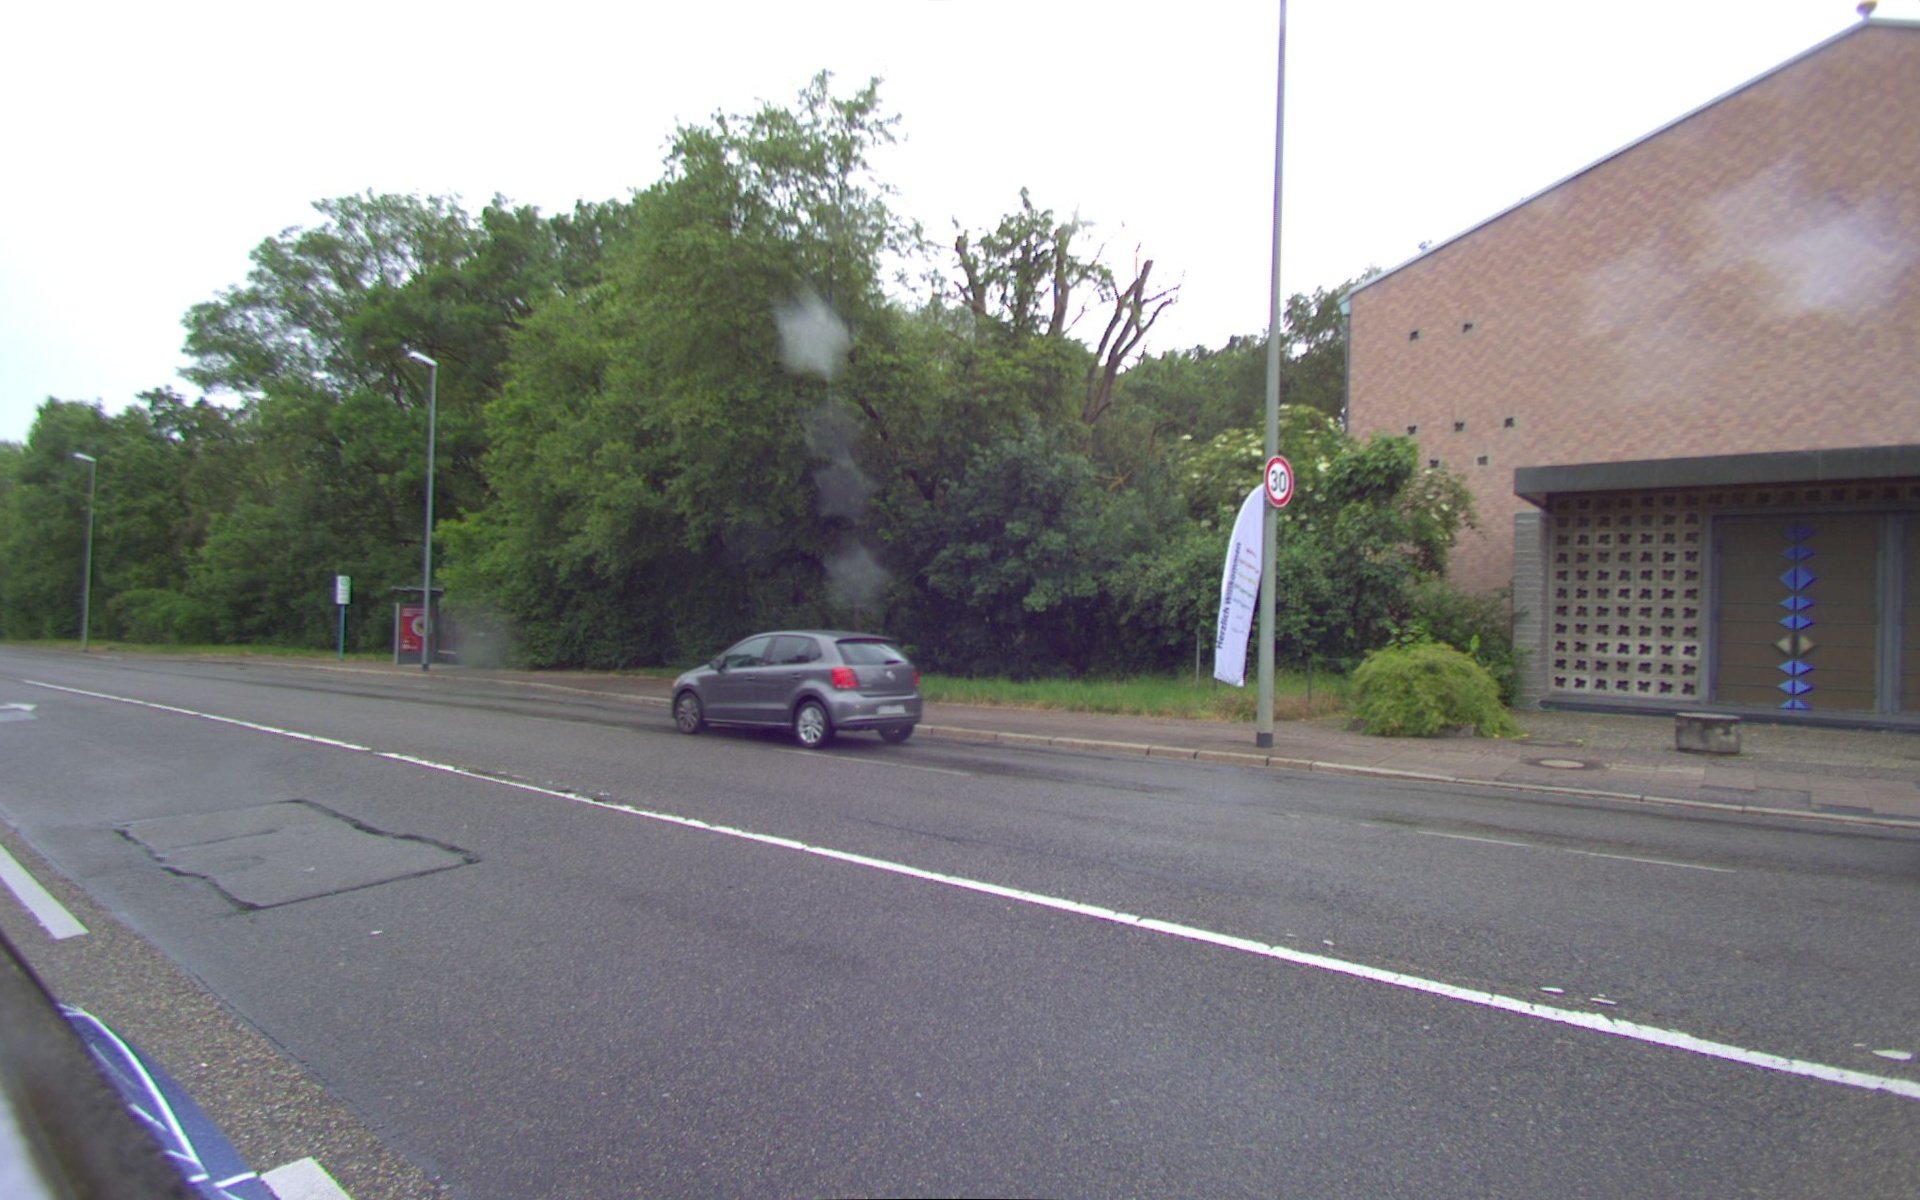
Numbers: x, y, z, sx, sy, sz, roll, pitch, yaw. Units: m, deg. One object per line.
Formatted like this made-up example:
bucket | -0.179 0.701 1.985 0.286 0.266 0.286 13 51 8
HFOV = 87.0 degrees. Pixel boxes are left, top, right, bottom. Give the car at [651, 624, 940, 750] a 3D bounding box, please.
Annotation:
car | -2.260 1.055 13.386 3.901 1.440 1.578 -1 -3 39
